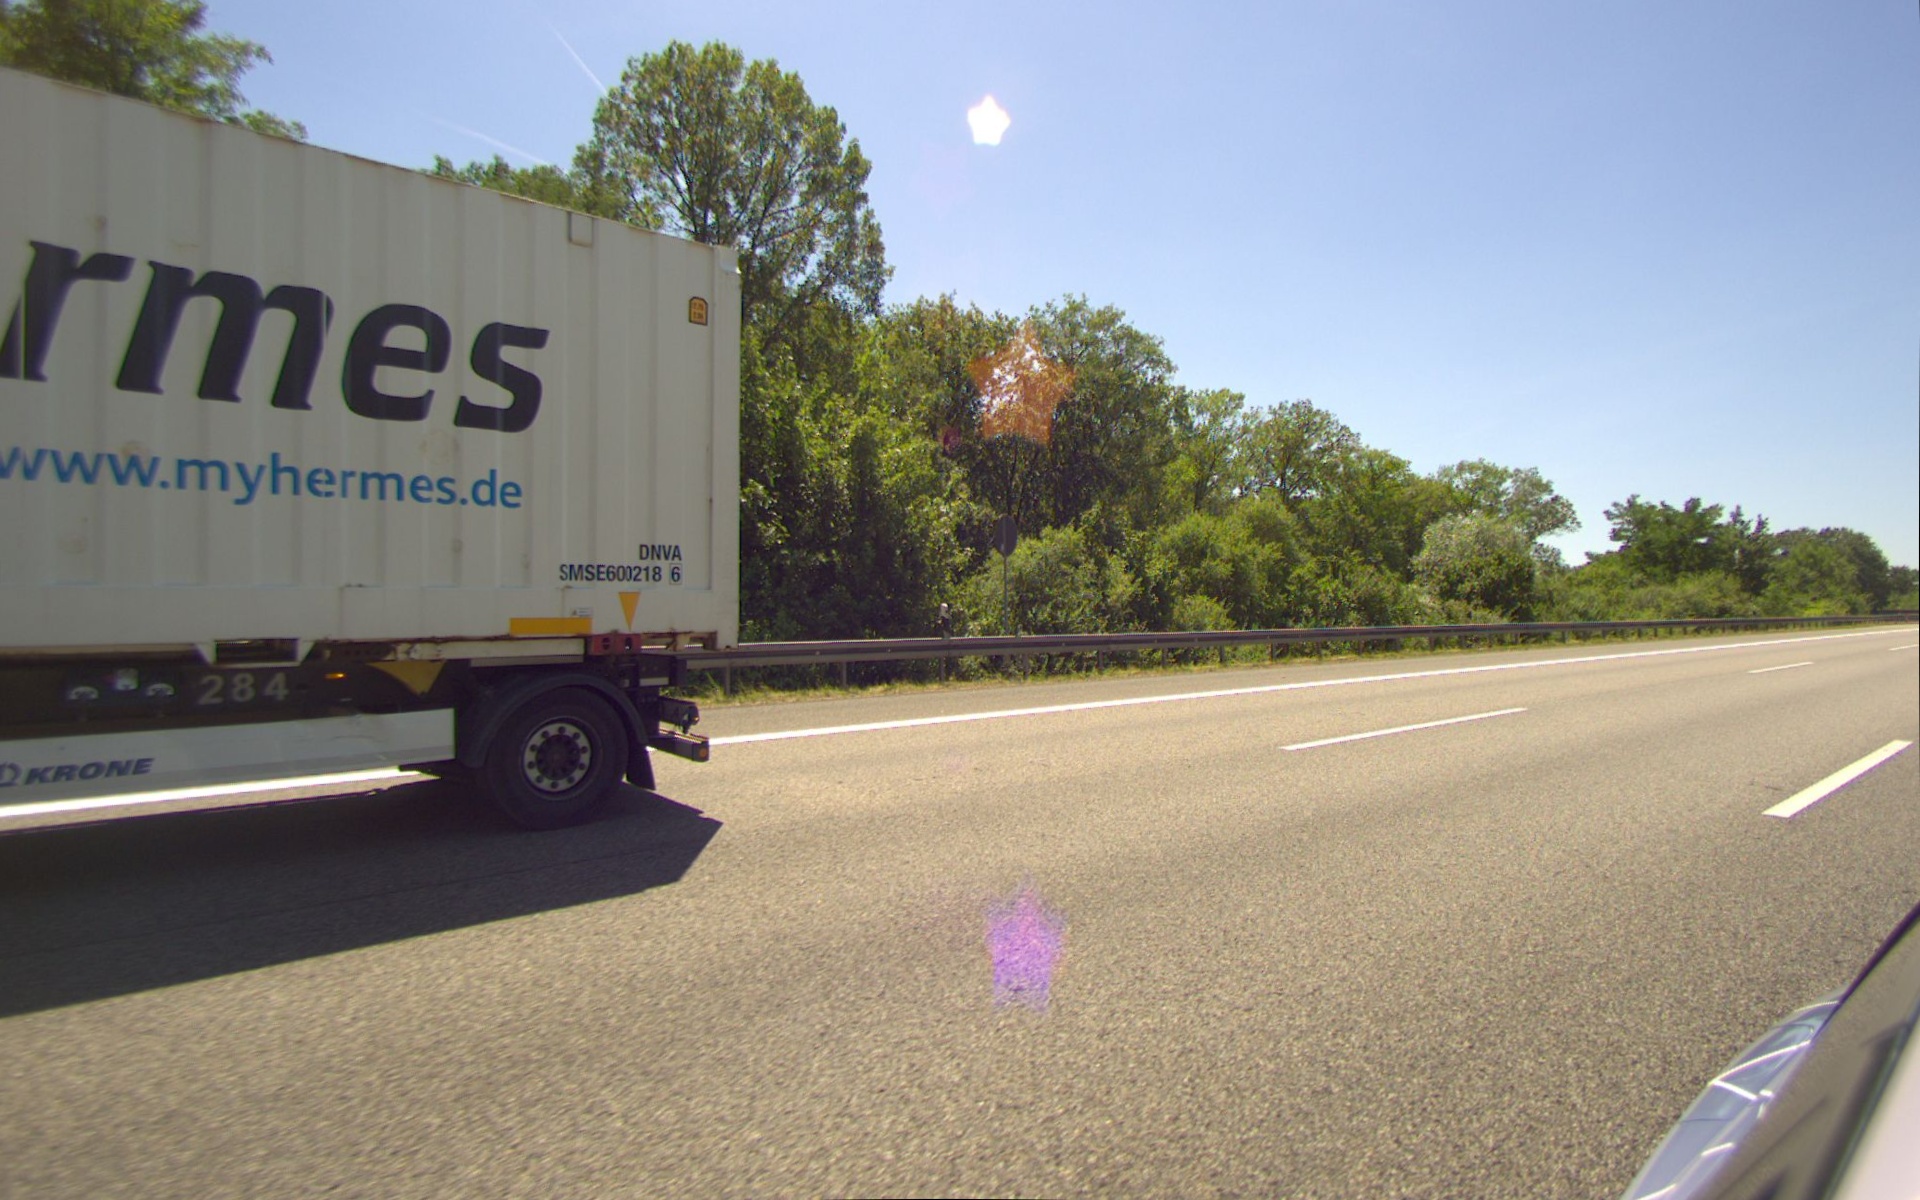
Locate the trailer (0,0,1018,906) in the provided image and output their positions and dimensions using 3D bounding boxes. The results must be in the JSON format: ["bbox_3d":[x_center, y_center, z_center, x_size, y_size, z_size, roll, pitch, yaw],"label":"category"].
[{"bbox_3d":[-4.520,-0.694,6.045,11.065,4.111,2.559,0,0,-41],"label":"trailer"}]
